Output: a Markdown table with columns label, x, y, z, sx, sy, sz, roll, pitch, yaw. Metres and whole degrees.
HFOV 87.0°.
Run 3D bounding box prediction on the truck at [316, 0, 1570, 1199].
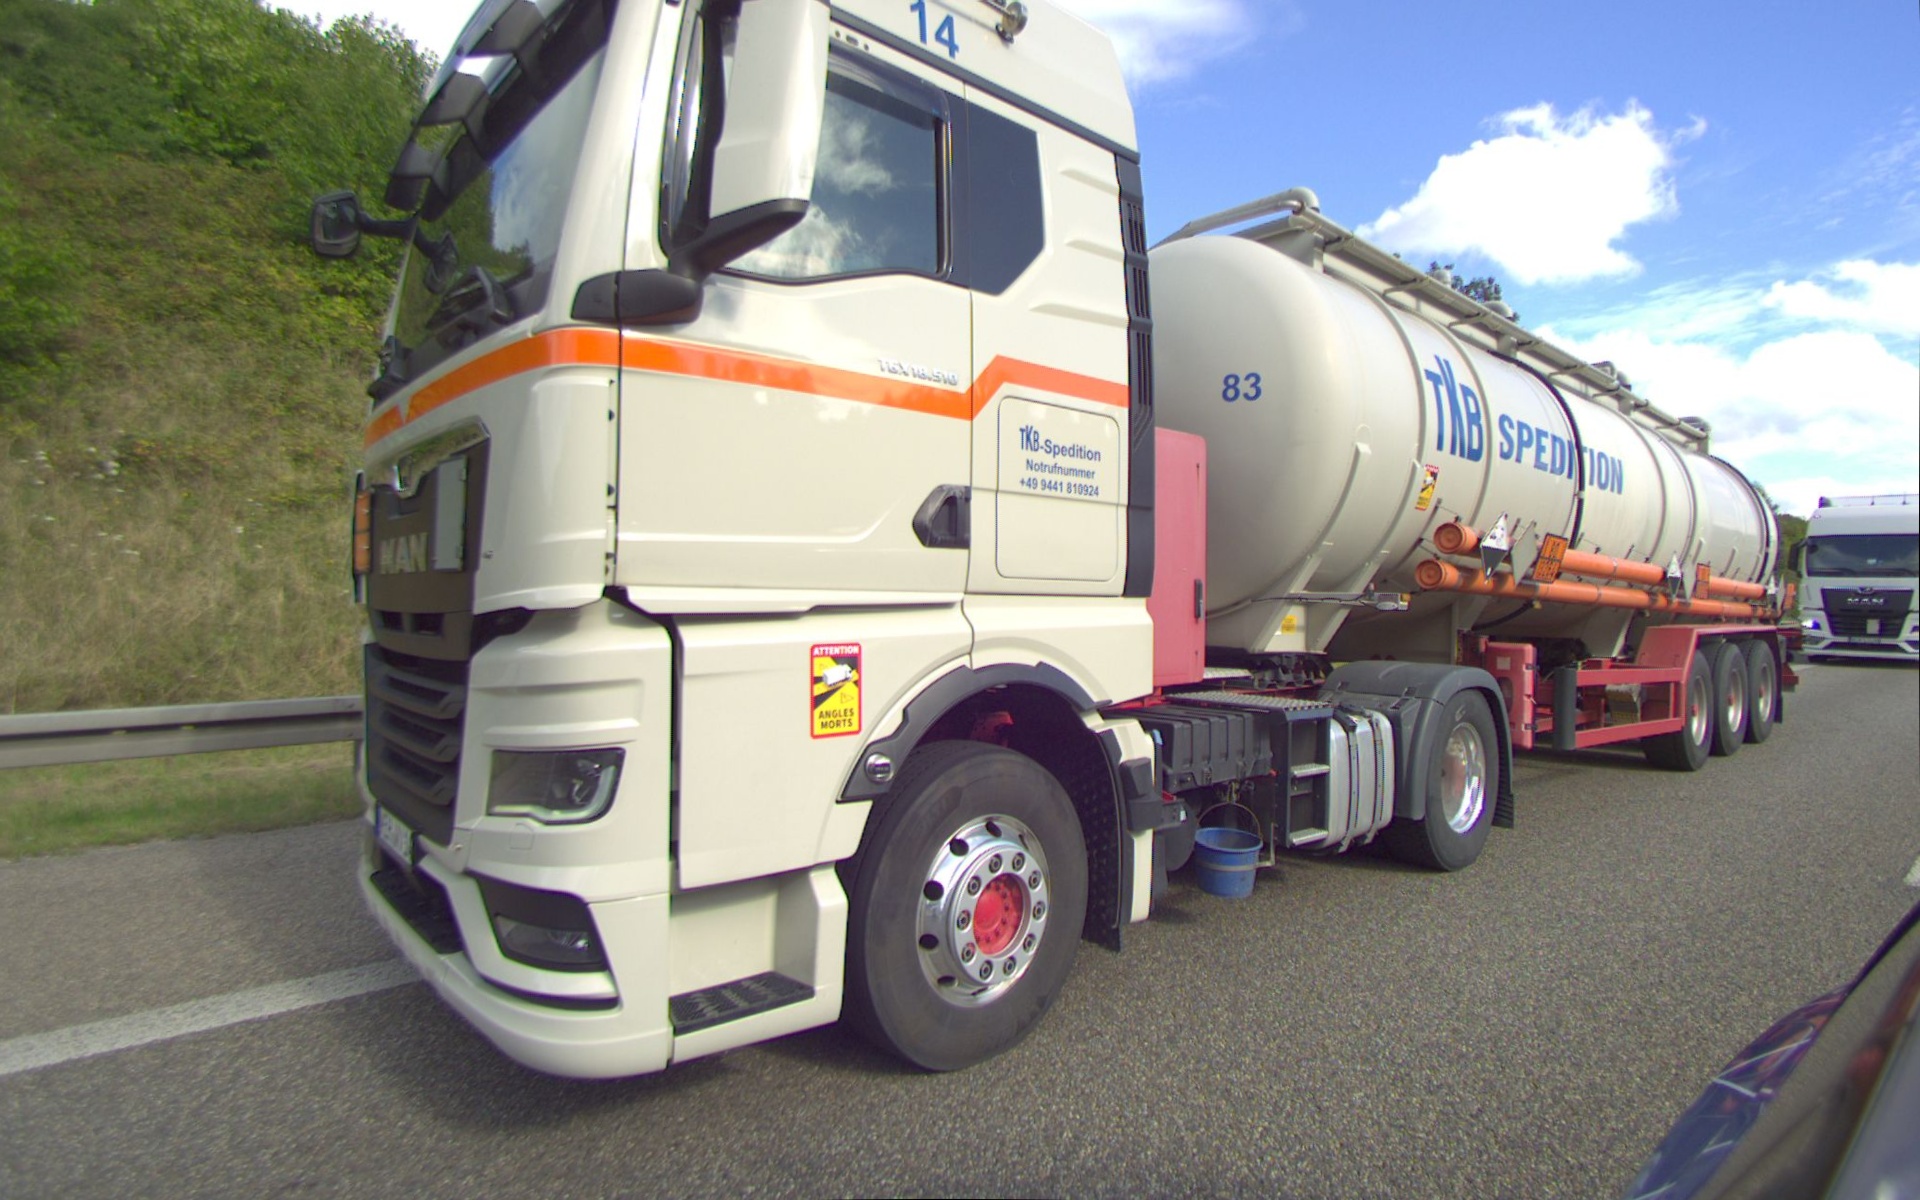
| label | x | y | z | sx | sy | sz | roll | pitch | yaw |
| --- | --- | --- | --- | --- | --- | --- | --- | --- | --- |
| truck | 0.396 | -0.700 | 5.049 | 5.799 | 4.094 | 2.809 | 0 | 1 | -40 |

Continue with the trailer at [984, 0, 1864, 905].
| label | x | y | z | sx | sy | sz | roll | pitch | yaw |
| --- | --- | --- | --- | --- | --- | --- | --- | --- | --- |
| trailer | 5.255 | -0.725 | 9.135 | 10.983 | 4.077 | 2.804 | 0 | 1 | -40 |

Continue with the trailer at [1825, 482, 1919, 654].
| label | x | y | z | sx | sy | sz | roll | pitch | yaw |
| --- | --- | --- | --- | --- | --- | --- | --- | --- | --- |
| trailer | 27.858 | -0.800 | 28.799 | 13.134 | 4.122 | 2.832 | 0 | 1 | -40 |

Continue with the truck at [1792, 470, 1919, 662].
| label | x | y | z | sx | sy | sz | roll | pitch | yaw |
| --- | --- | --- | --- | --- | --- | --- | --- | --- | --- |
| truck | 22.295 | -0.759 | 24.108 | 5.606 | 4.122 | 2.840 | 0 | 1 | -40 |
